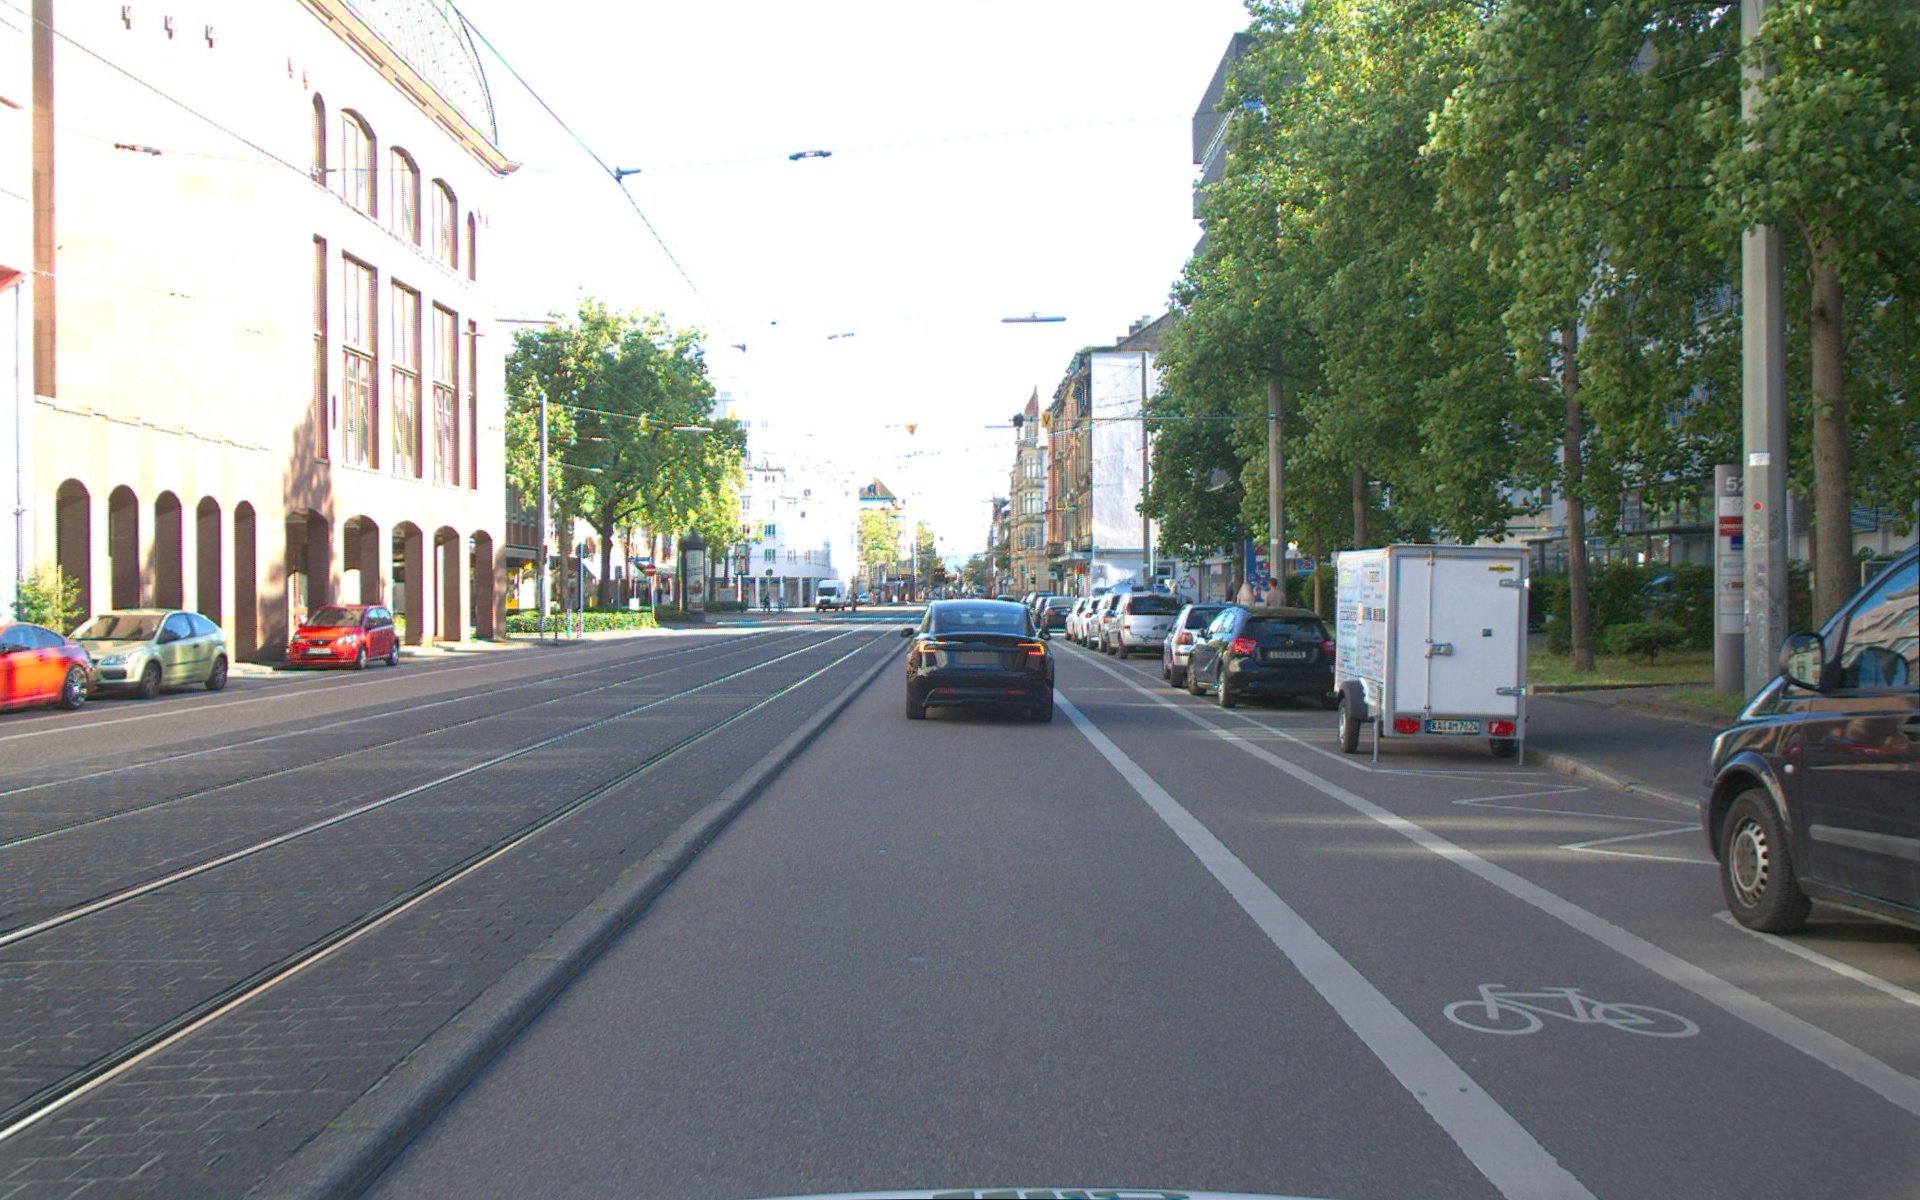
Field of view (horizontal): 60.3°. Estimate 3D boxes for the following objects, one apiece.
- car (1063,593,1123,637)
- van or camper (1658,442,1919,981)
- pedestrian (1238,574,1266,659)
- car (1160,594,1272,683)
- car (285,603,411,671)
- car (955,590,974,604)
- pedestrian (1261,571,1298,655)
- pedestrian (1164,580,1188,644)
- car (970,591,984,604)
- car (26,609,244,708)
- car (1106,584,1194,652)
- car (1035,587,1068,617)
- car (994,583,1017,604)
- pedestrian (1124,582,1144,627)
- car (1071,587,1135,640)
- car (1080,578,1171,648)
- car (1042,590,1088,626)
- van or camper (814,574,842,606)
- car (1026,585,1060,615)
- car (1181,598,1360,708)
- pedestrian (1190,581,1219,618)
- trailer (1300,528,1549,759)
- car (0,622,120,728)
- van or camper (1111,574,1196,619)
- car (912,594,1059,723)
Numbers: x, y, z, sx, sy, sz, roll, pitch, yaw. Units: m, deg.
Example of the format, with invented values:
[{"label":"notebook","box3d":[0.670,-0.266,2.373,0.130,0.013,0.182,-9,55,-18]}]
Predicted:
[{"label":"car","box3d":[4.613,0.502,57.849,1.570,1.468,3.883,1,0,-3]},{"label":"van or camper","box3d":[4.690,0.448,5.993,1.931,2.081,5.330,1,1,-2]},{"label":"pedestrian","box3d":[6.942,0.384,39.384,0.455,1.987,0.748,-4,0,5]},{"label":"car","box3d":[4.603,0.640,30.192,1.713,1.468,4.318,0,1,5]},{"label":"car","box3d":[-14.351,0.834,38.959,1.625,1.446,3.620,1,1,0]},{"label":"car","box3d":[0.578,-0.384,195.721,1.954,1.552,3.997,-1,0,-4]},{"label":"pedestrian","box3d":[7.594,0.300,39.302,0.654,1.930,0.748,-4,0,5]},{"label":"pedestrian","box3d":[6.352,0.345,48.640,0.598,1.839,0.603,-2,0,4]},{"label":"car","box3d":[2.317,-0.297,223.051,1.808,1.620,4.001,-2,1,1]},{"label":"car","box3d":[-14.157,0.951,28.665,1.635,1.494,4.290,1,1,0]},{"label":"car","box3d":[4.794,0.421,42.127,1.679,1.618,4.064,1,1,-1]},{"label":"car","box3d":[4.563,0.126,82.865,1.431,1.457,3.813,0,0,-1]},{"label":"car","box3d":[3.322,-0.475,121.467,1.561,1.458,3.686,-1,0,1]},{"label":"pedestrian","box3d":[7.259,0.203,68.905,0.707,1.843,0.889,-1,0,0]},{"label":"car","box3d":[4.510,0.399,52.628,1.510,1.597,4.442,0,1,-2]},{"label":"car","box3d":[4.640,0.314,47.018,1.886,1.866,4.710,0,1,-3]},{"label":"car","box3d":[4.495,0.337,71.207,1.676,1.482,4.550,0,0,0]},{"label":"van or camper","box3d":[-11.740,-0.902,147.377,2.097,2.700,6.877,-1,0,-2]},{"label":"car","box3d":[4.652,-0.008,93.028,1.791,1.656,4.095,0,0,1]},{"label":"car","box3d":[4.605,0.735,25.142,1.766,1.460,4.322,2,0,-2]},{"label":"pedestrian","box3d":[11.733,-0.034,79.313,1.130,1.758,1.043,-1,1,25]},{"label":"trailer","box3d":[4.790,0.398,17.570,1.626,2.154,3.843,1,0,1]},{"label":"car","box3d":[-14.213,1.063,23.737,1.920,1.348,4.820,1,1,-1]},{"label":"van or camper","box3d":[10.864,-0.202,92.982,4.547,2.173,1.988,-4,0,4]},{"label":"car","box3d":[0.265,0.666,20.964,1.684,1.430,3.709,0,1,-1]}]
